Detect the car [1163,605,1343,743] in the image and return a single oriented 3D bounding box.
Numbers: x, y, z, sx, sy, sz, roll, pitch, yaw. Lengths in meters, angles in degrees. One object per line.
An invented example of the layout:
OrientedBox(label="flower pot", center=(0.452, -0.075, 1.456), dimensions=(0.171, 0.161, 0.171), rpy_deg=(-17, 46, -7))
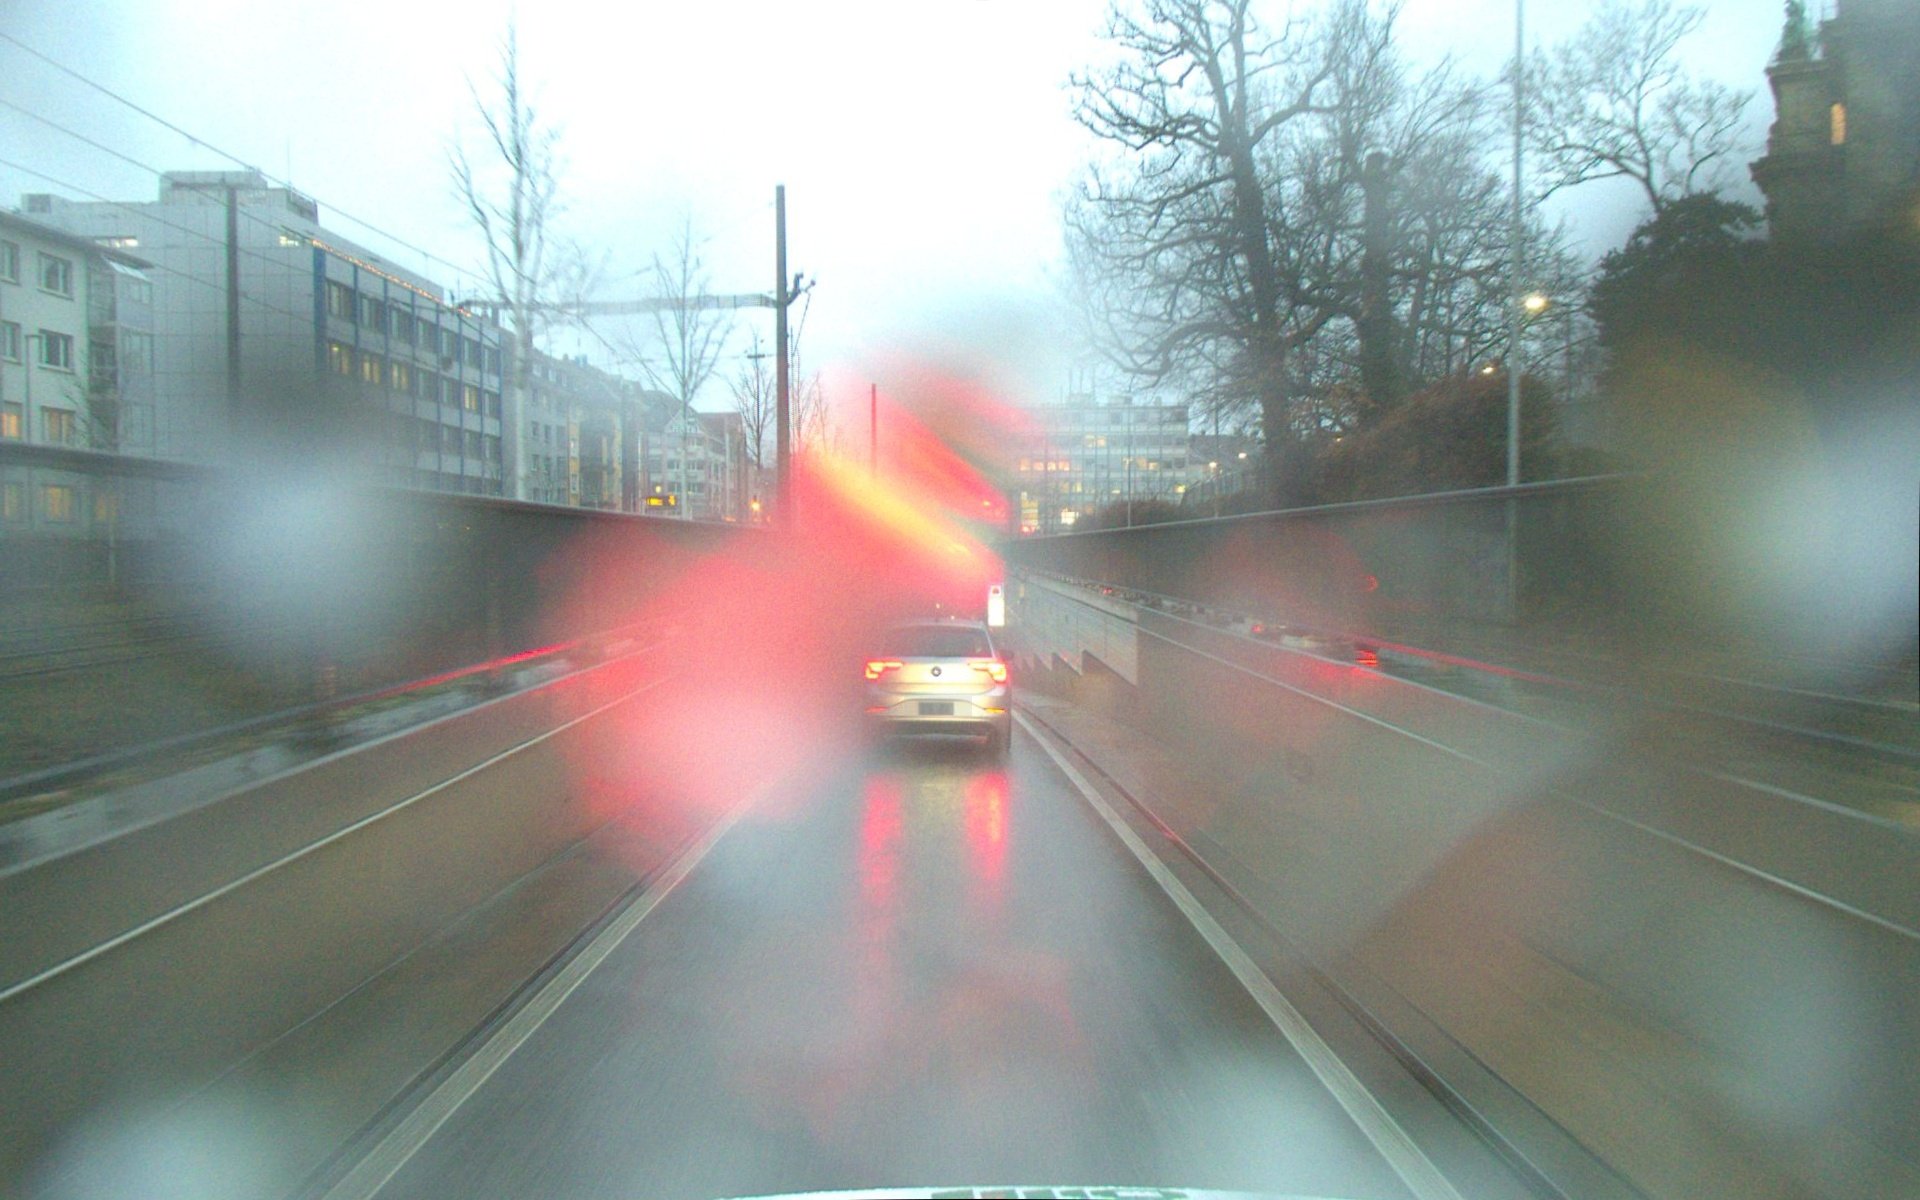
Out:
OrientedBox(label="car", center=(3.736, 0.890, 21.704), dimensions=(1.687, 1.505, 4.001), rpy_deg=(2, 1, 1))

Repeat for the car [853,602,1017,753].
OrientedBox(label="car", center=(-0.222, 0.816, 19.374), dimensions=(1.687, 1.505, 4.001), rpy_deg=(2, 0, 1))
